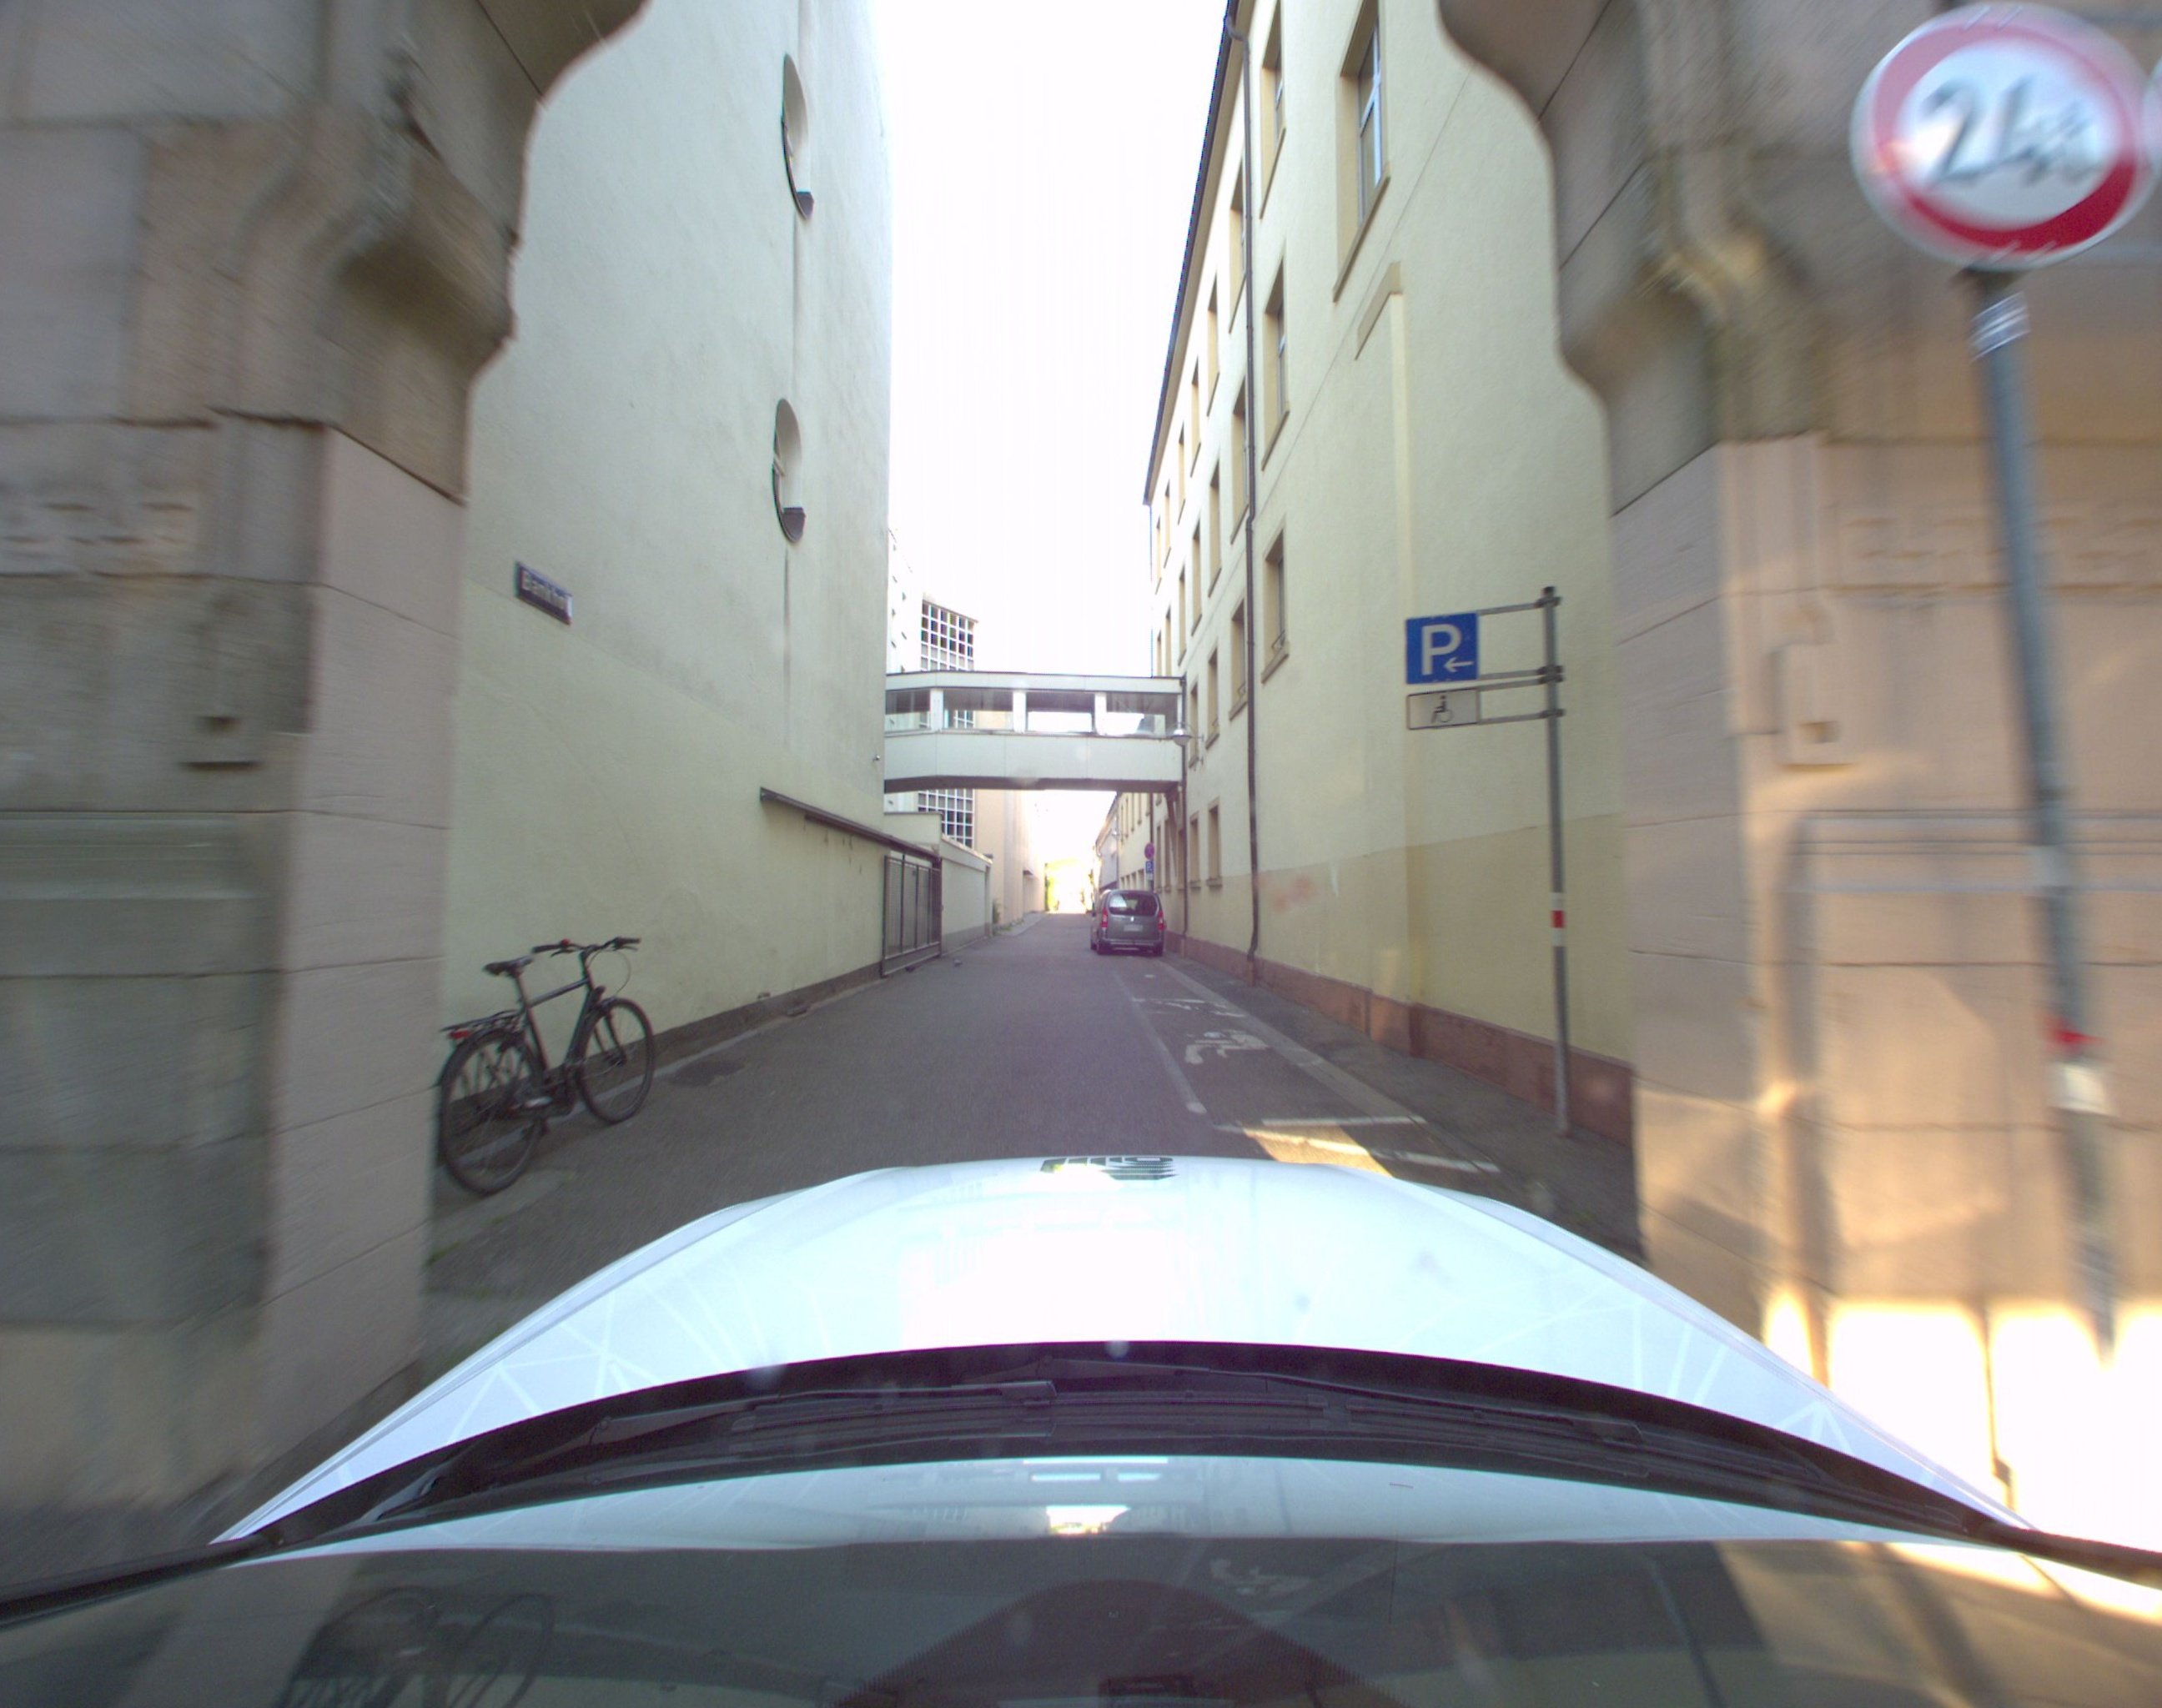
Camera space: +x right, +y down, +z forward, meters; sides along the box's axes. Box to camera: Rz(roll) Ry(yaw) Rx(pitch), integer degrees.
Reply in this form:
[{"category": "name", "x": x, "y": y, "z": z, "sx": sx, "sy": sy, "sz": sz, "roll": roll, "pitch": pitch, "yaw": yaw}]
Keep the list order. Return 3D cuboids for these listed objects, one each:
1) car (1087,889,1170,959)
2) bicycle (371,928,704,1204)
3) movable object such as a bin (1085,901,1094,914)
[{"category": "car", "x": 1.268, "y": 1.976, "z": 23.554, "sx": 1.851, "sy": 1.756, "sz": 4.155, "roll": 3, "pitch": -4, "yaw": -3}, {"category": "bicycle", "x": -2.739, "y": 0.985, "z": 4.378, "sx": 0.593, "sy": 1.079, "sz": 1.755, "roll": 0, "pitch": -2, "yaw": -1}, {"category": "movable object such as a bin", "x": 1.010, "y": 6.248, "z": 95.529, "sx": 1.103, "sy": 1.436, "sz": 1.413, "roll": 0, "pitch": -1, "yaw": -1}]
